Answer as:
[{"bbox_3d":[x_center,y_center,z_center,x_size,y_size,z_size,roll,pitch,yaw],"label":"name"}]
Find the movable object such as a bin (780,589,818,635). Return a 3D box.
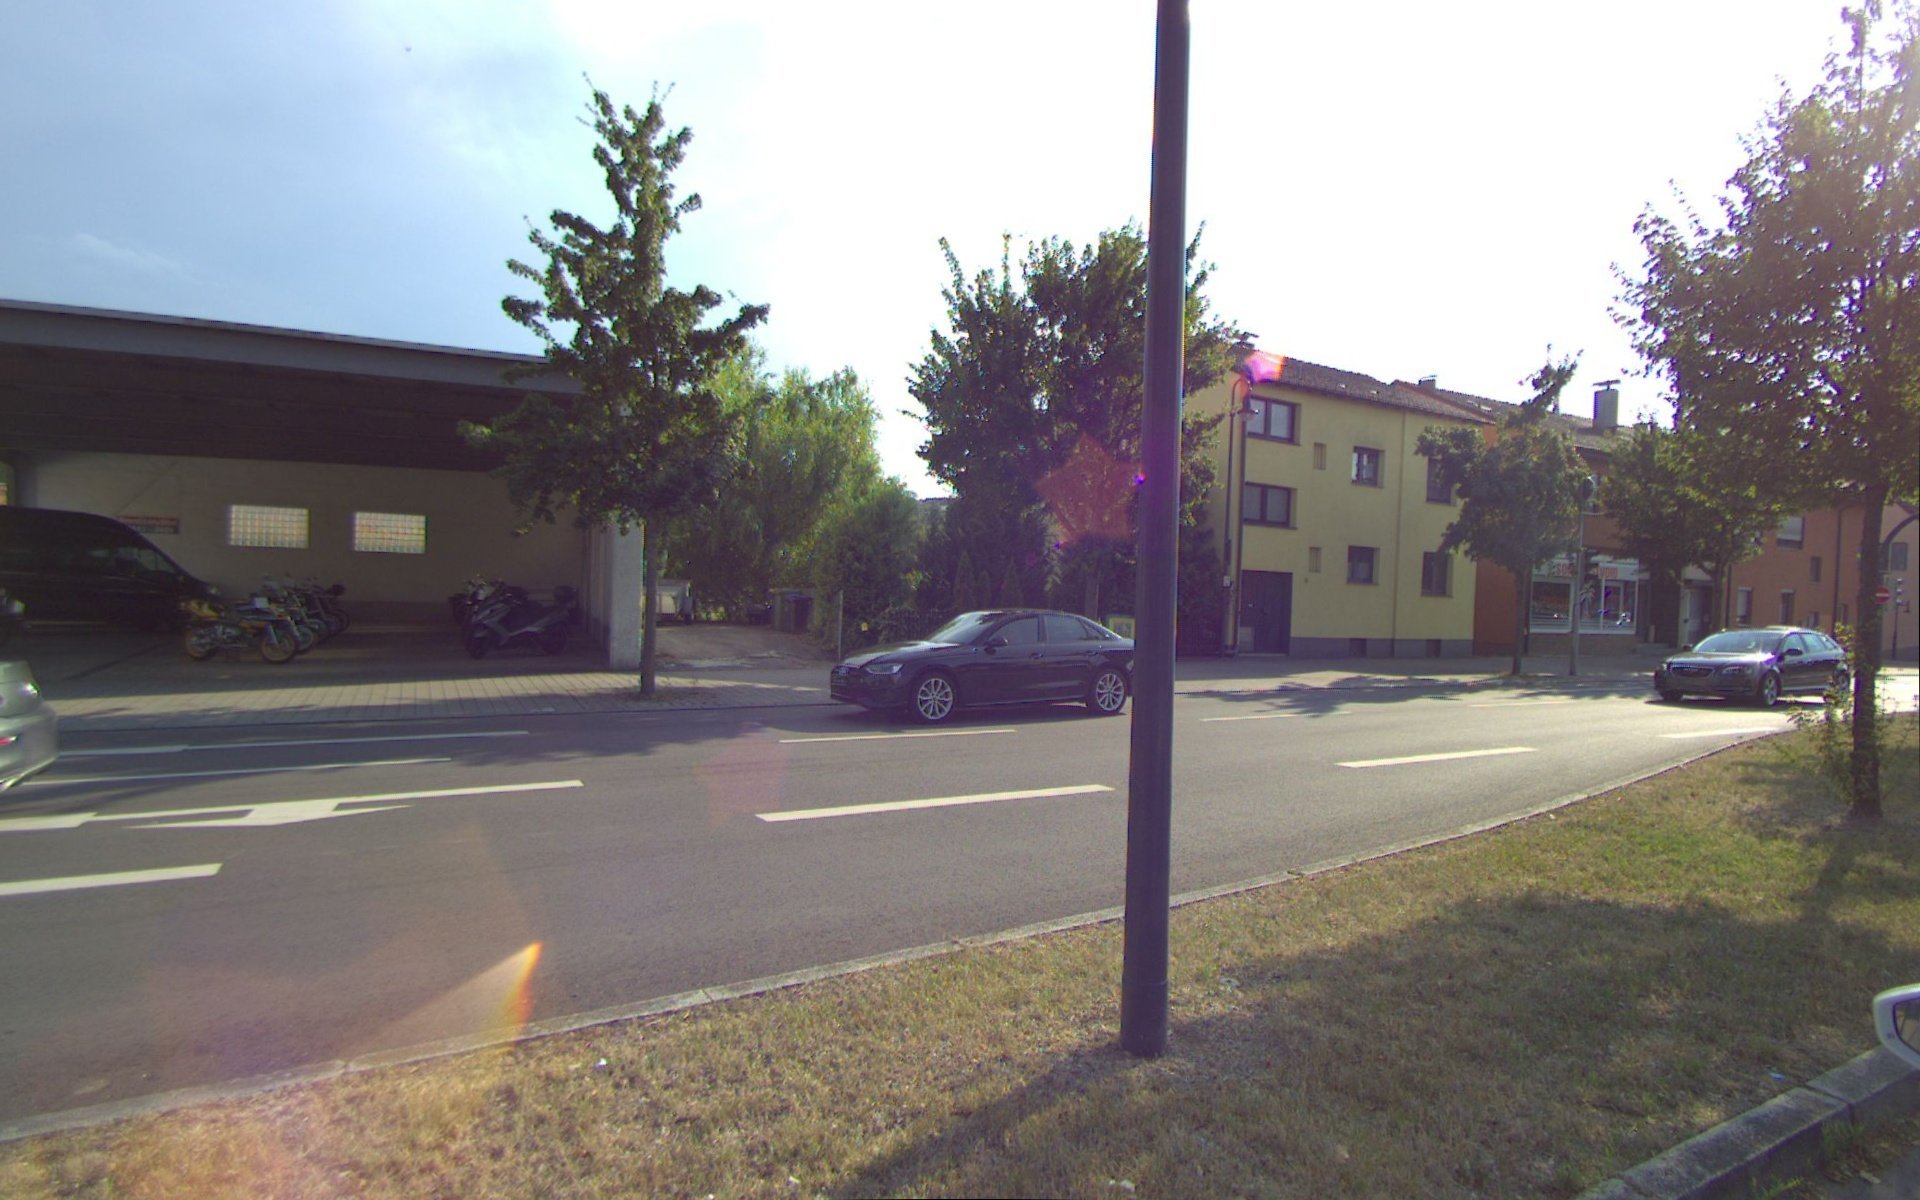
[{"bbox_3d":[-4.018,0.293,25.012,0.688,1.101,0.727,1,3,-30],"label":"movable object such as a bin"}]

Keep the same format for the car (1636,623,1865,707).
[{"bbox_3d":[14.919,1.191,18.946,4.131,1.405,1.641,1,0,-24],"label":"car"}]

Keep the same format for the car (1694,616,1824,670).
[{"bbox_3d":[26.262,1.389,32.995,3.949,1.573,1.836,1,2,-27],"label":"car"}]

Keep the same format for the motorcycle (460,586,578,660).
[{"bbox_3d":[-8.328,0.424,19.065,0.553,1.325,2.112,1,0,30],"label":"motorcycle"}]

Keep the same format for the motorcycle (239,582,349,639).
[{"bbox_3d":[-15.507,0.241,23.405,2.111,1.275,0.647,1,0,0],"label":"motorcycle"}]

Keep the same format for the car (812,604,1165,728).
[{"bbox_3d":[0.459,0.832,13.828,4.590,1.441,1.834,1,0,-30],"label":"car"}]

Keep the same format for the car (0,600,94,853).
[{"bbox_3d":[-7.589,0.656,5.192,4.427,1.367,1.771,1,0,-31],"label":"car"}]

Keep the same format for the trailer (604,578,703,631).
[{"bbox_3d":[-7.767,0.078,25.736,1.692,1.199,3.594,1,1,-5],"label":"trailer"}]

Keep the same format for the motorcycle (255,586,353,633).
[{"bbox_3d":[-16.774,0.249,25.713,2.111,1.138,0.563,1,0,0],"label":"motorcycle"}]

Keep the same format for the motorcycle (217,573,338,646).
[{"bbox_3d":[-14.357,0.196,21.160,2.111,1.468,0.594,1,0,0],"label":"motorcycle"}]

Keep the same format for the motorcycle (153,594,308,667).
[{"bbox_3d":[-12.173,0.500,16.797,2.111,1.139,0.631,1,0,0],"label":"motorcycle"}]

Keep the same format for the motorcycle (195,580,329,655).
[{"bbox_3d":[-13.200,0.334,19.015,2.111,1.347,0.563,1,0,0],"label":"motorcycle"}]

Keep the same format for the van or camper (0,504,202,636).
[{"bbox_3d":[-20.128,-0.625,22.195,1.963,2.716,5.033,1,0,26],"label":"van or camper"}]

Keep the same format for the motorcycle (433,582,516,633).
[{"bbox_3d":[-13.188,0.214,27.357,0.553,1.325,2.086,1,0,30],"label":"motorcycle"}]

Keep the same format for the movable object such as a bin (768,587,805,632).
[{"bbox_3d":[-4.458,0.236,25.782,0.712,1.101,0.727,1,3,-30],"label":"movable object such as a bin"}]

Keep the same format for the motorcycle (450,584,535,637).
[{"bbox_3d":[-12.263,0.280,26.418,0.553,1.325,2.086,1,0,30],"label":"motorcycle"}]

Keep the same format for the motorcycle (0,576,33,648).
[{"bbox_3d":[-18.310,0.207,18.283,0.637,1.329,2.007,1,0,23],"label":"motorcycle"}]

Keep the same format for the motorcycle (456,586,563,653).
[{"bbox_3d":[-9.380,0.400,20.993,0.553,1.325,2.086,1,0,30],"label":"motorcycle"}]

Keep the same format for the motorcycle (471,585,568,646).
[{"bbox_3d":[-10.156,0.350,23.230,0.612,1.325,2.086,1,0,30],"label":"motorcycle"}]

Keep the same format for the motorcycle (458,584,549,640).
[{"bbox_3d":[-11.295,0.299,24.916,0.573,1.325,2.086,1,0,30],"label":"motorcycle"}]

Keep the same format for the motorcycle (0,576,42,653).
[{"bbox_3d":[-16.914,0.239,16.956,0.637,1.329,2.007,1,0,23],"label":"motorcycle"}]
